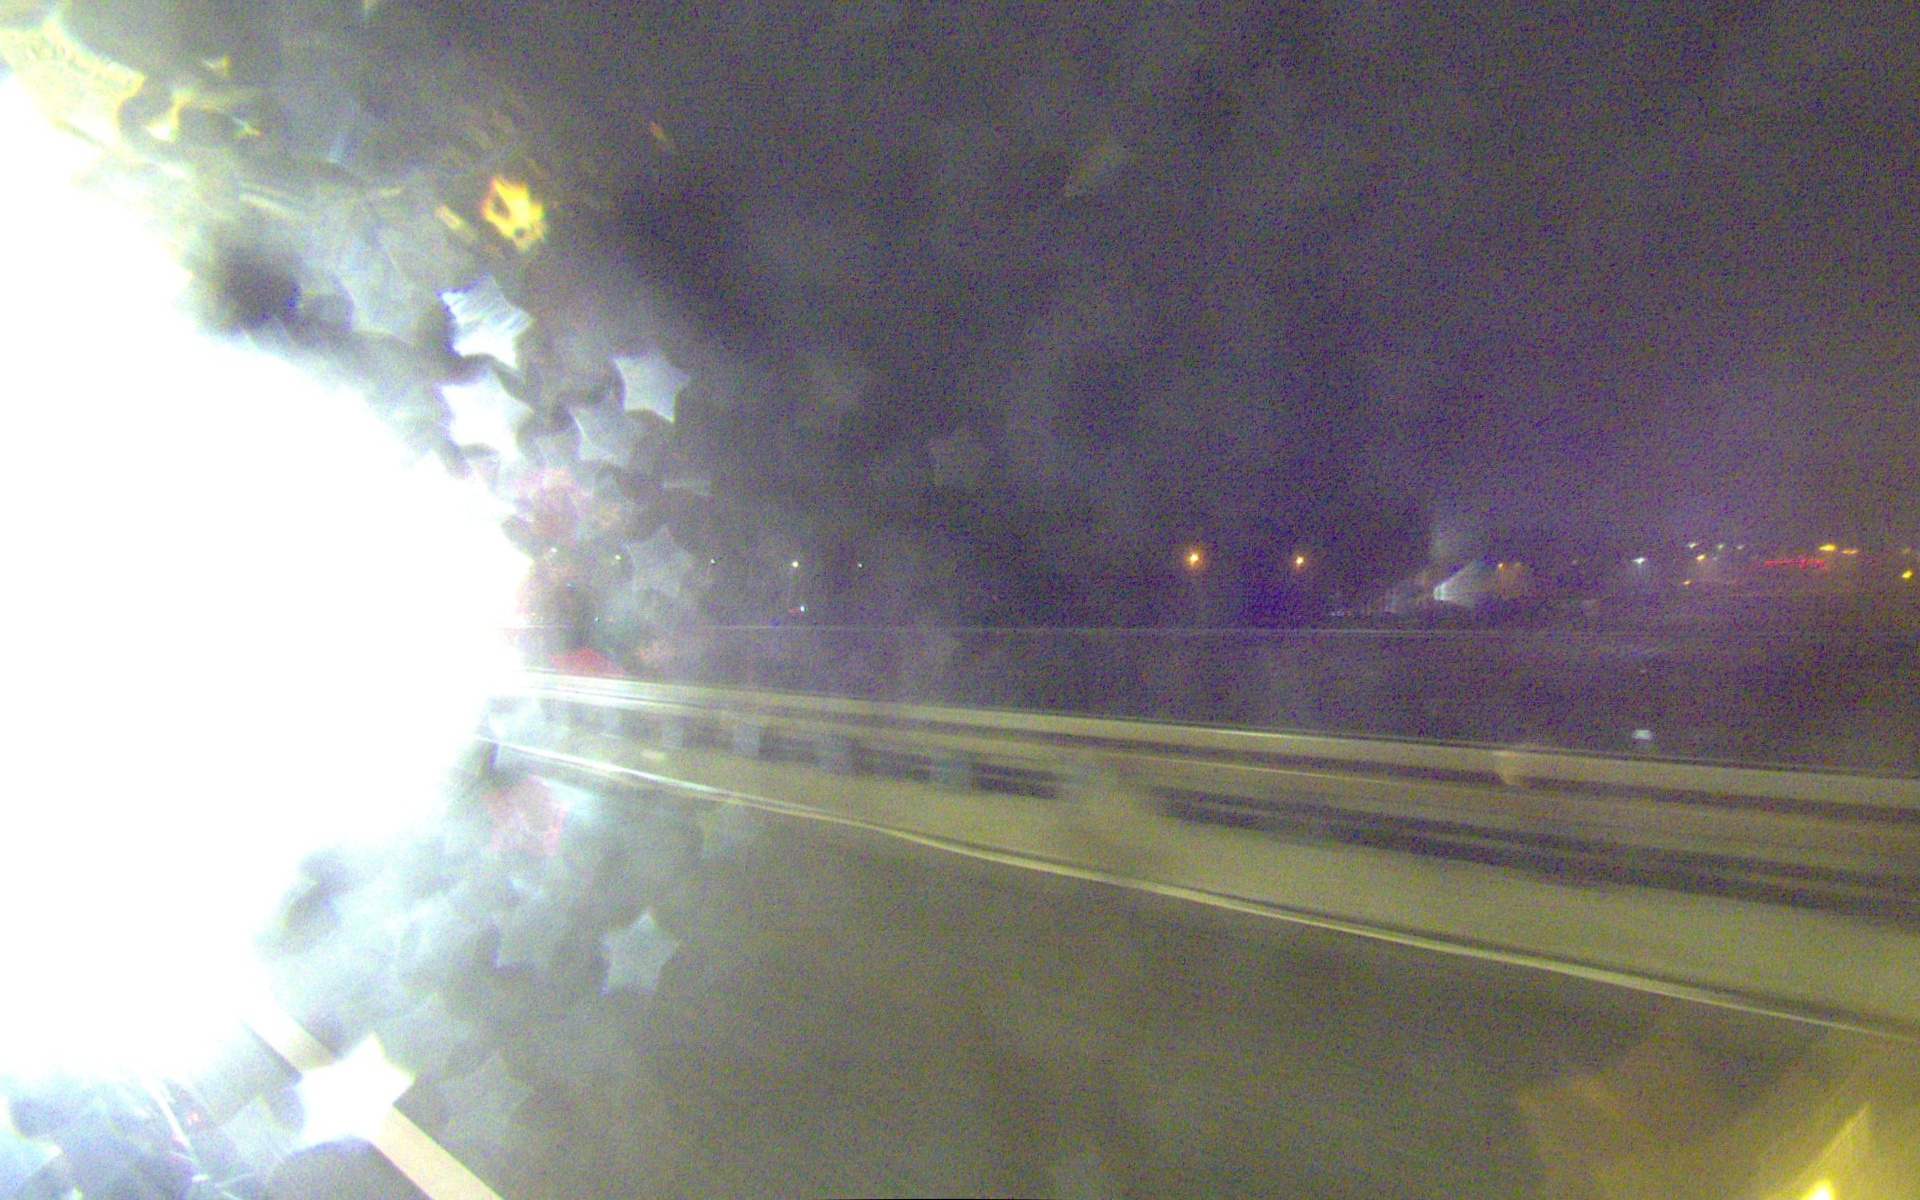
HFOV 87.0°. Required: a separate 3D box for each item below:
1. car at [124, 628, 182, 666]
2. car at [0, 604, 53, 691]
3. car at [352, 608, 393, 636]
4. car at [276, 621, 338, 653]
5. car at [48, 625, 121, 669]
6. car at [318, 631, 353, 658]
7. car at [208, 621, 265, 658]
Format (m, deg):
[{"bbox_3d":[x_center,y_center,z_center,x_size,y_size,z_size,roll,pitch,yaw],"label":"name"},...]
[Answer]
[{"bbox_3d":[-37.892,2.190,47.566,1.284,1.540,3.056,-7,1,-25],"label":"car"},{"bbox_3d":[-24.535,1.136,25.456,1.967,2.029,4.010,3,-1,-34],"label":"car"},{"bbox_3d":[-41.603,1.593,71.718,1.729,1.875,4.012,2,-2,-20],"label":"car"},{"bbox_3d":[-36.813,2.069,57.183,1.994,1.732,4.998,1,-1,-22],"label":"car"},{"bbox_3d":[-32.930,1.748,38.135,1.497,1.537,3.116,0,-2,-29],"label":"car"},{"bbox_3d":[-54.439,3.884,88.300,1.628,2.027,4.013,-8,1,-20],"label":"car"},{"bbox_3d":[-45.004,2.463,63.011,1.628,2.027,4.012,-8,0,-20],"label":"car"}]
